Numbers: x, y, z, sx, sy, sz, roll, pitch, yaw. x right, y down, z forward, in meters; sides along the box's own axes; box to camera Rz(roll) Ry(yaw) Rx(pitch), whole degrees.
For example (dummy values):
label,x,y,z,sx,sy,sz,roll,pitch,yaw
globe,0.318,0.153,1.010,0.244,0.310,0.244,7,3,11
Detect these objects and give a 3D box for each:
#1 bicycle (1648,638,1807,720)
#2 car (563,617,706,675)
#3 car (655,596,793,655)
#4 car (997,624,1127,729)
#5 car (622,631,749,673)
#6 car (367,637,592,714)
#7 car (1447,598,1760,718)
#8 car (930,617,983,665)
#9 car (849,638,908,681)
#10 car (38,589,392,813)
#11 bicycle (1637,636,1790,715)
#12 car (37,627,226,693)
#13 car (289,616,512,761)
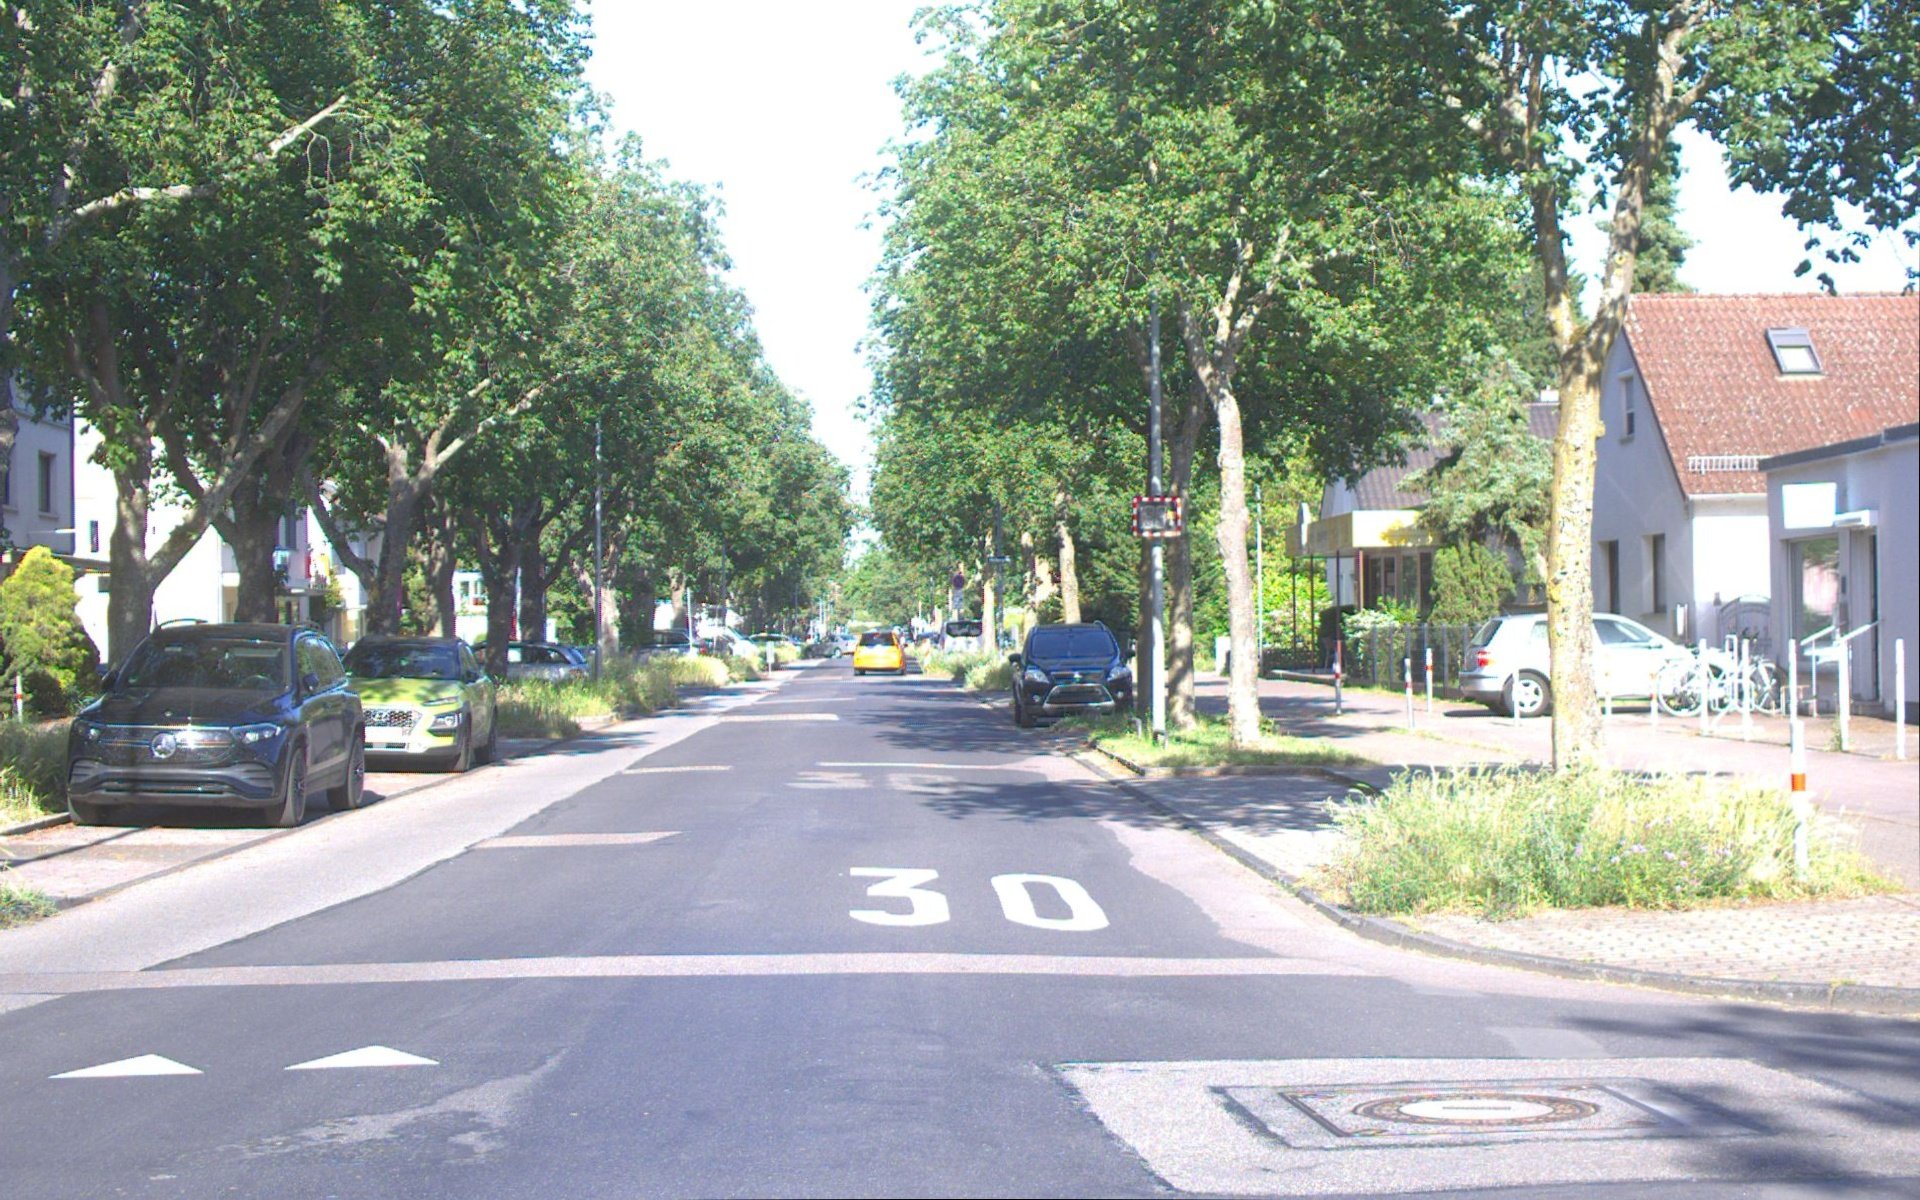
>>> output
label,x,y,z,sx,sy,sz,roll,pitch,yaw
bicycle,10.225,1.052,45.836,1.957,0.995,0.576,-2,1,-3
car,-10.502,1.483,110.850,4.545,1.760,2.000,1,1,-6
car,-9.517,1.029,138.986,5.497,2.240,2.517,1,1,-3
car,1.653,1.264,57.061,1.853,1.620,4.469,-2,-1,-2
car,-9.428,1.784,117.768,4.286,1.310,1.909,1,1,-6
car,-10.235,1.592,73.388,4.554,1.506,1.841,1,1,-1
car,9.115,0.804,48.903,3.986,1.484,1.902,-2,1,-2
car,-0.145,1.546,129.990,1.902,1.768,4.301,1,-1,-1
car,-2.886,2.111,122.867,1.888,1.474,3.887,2,-1,1
car,-6.229,0.849,29.315,1.953,1.721,4.875,1,-1,0
bicycle,10.262,1.025,46.825,1.923,0.995,0.576,-2,1,-3
car,-21.662,1.562,90.015,4.554,1.612,2.000,1,1,-5
car,-6.595,1.050,40.948,1.939,1.603,4.383,1,-1,0
